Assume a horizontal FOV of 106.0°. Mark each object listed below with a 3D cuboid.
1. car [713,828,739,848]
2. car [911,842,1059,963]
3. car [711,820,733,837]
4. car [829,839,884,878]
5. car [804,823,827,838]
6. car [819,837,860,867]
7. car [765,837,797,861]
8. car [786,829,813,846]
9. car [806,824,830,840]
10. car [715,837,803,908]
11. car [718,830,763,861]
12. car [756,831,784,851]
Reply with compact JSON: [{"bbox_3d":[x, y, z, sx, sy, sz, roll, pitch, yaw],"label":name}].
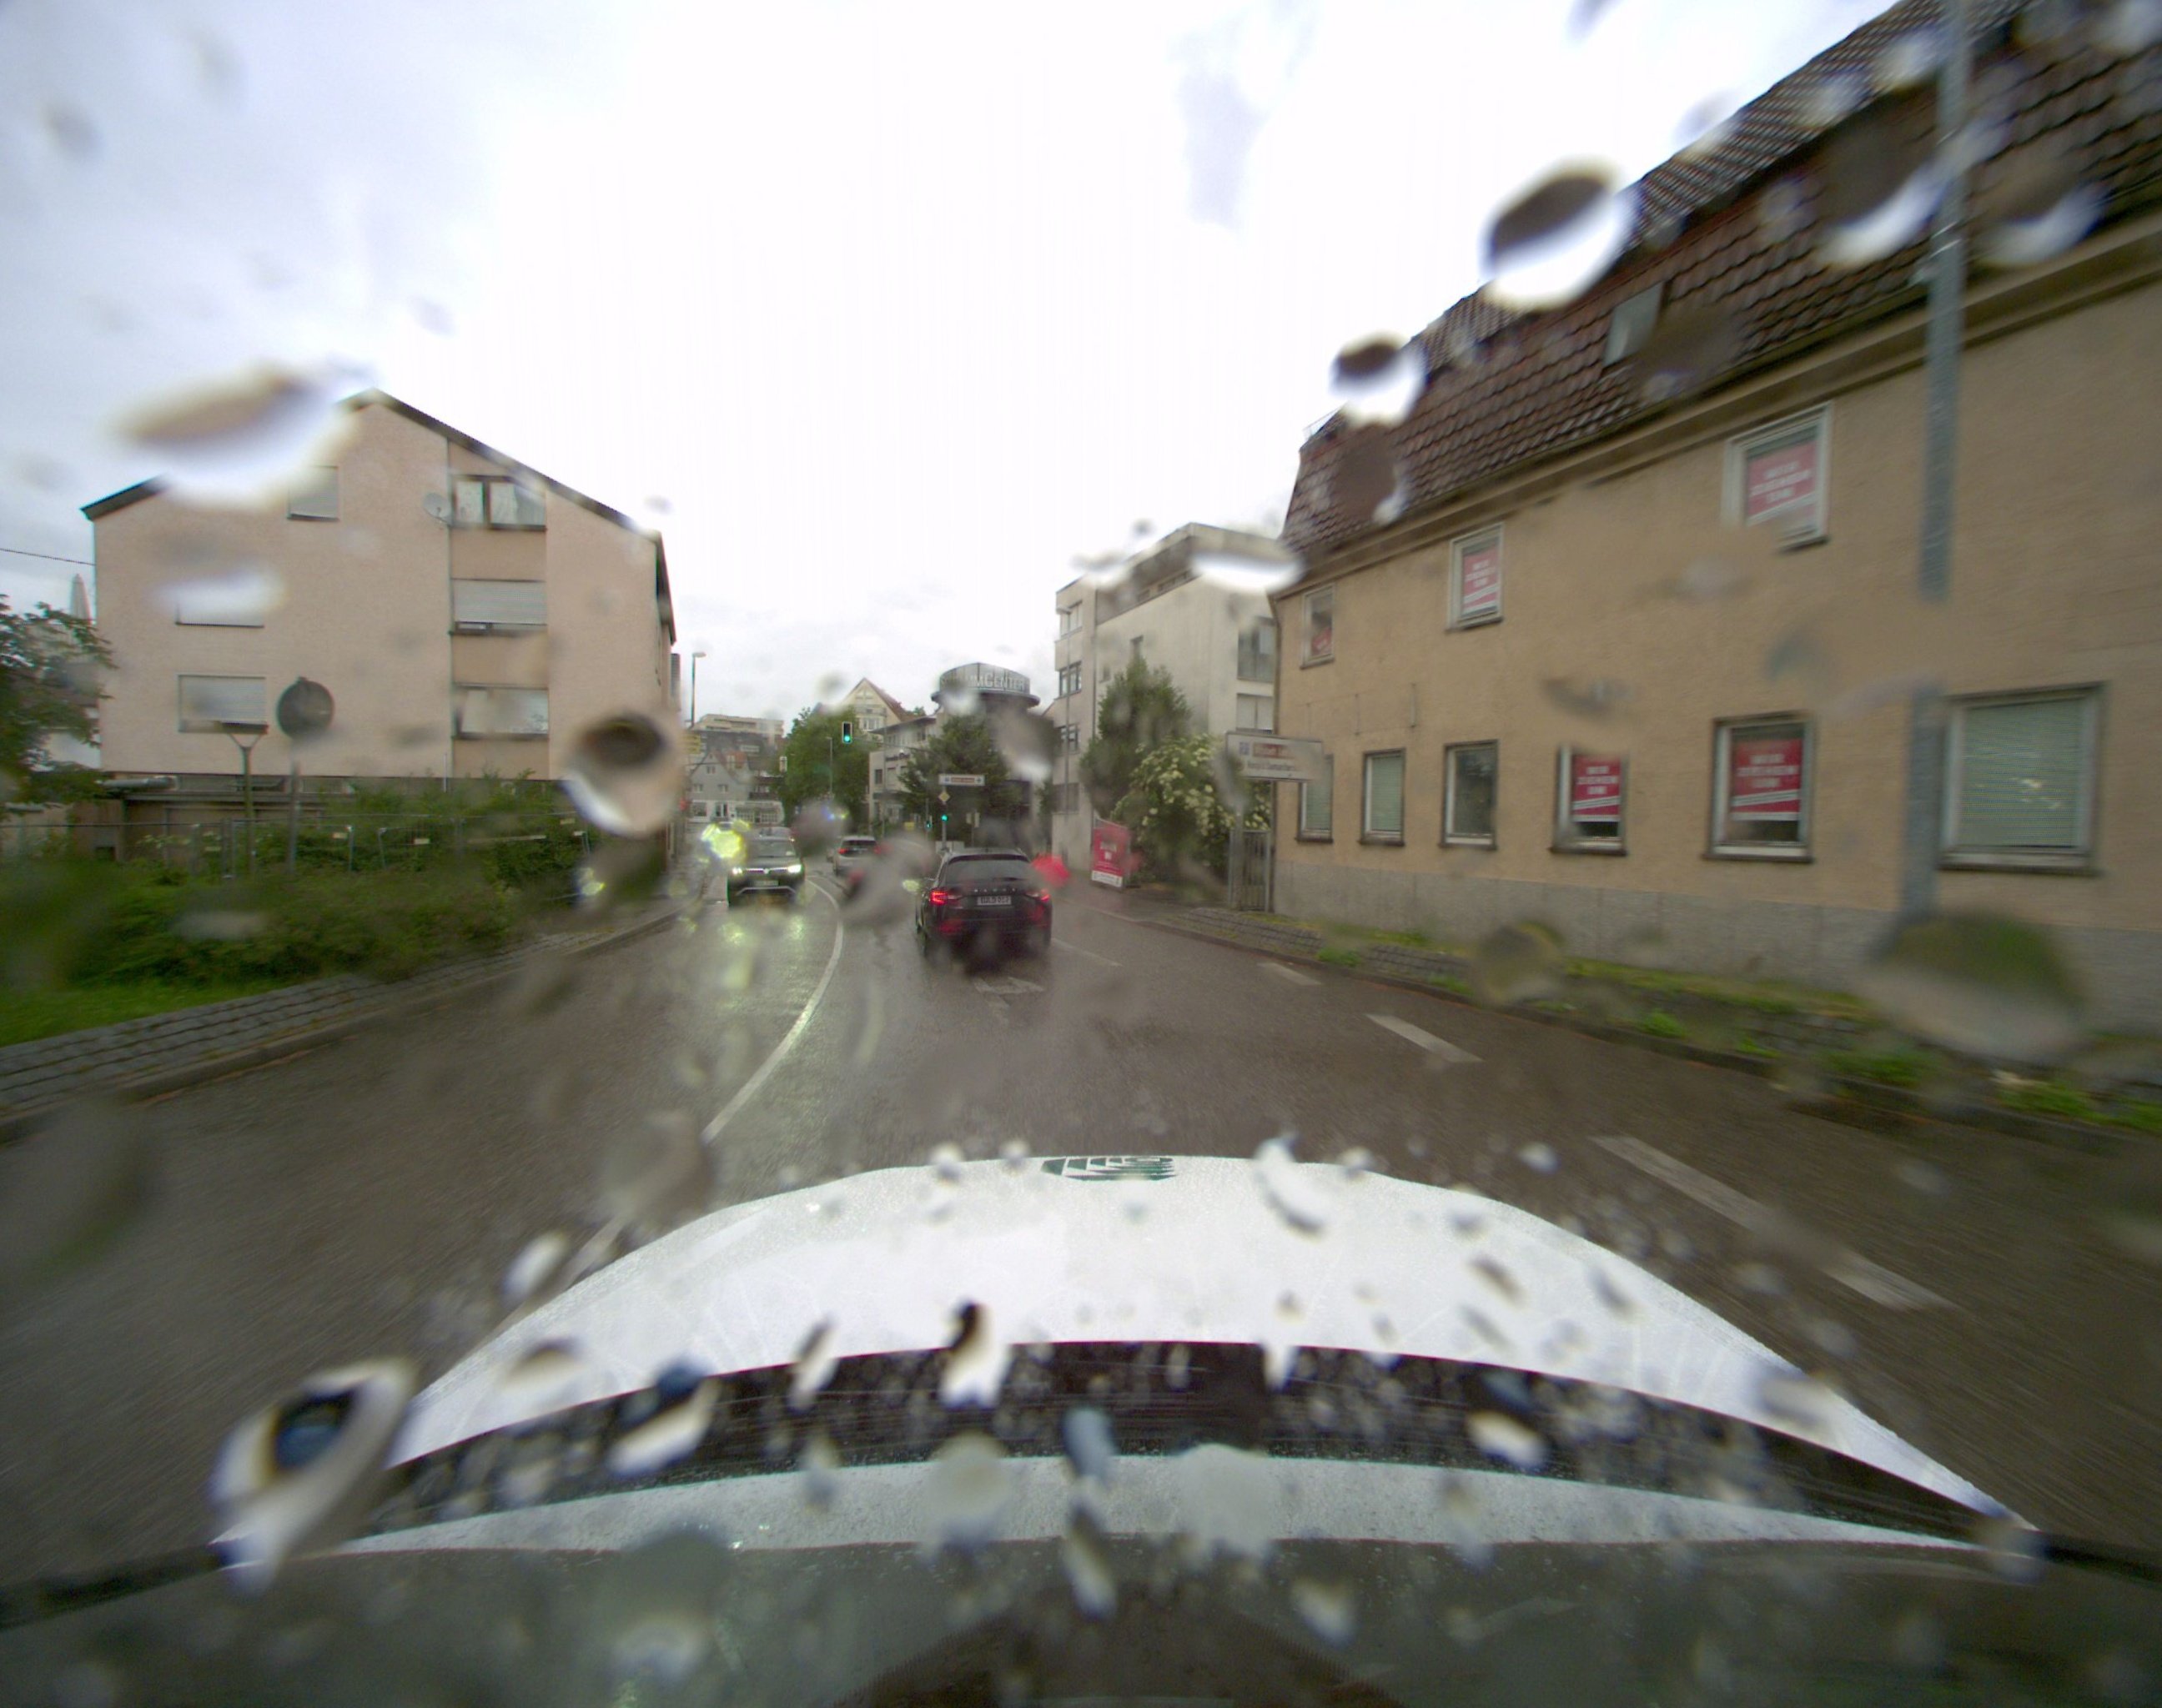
[{"bbox_3d":[-27.592,-1.283,63.225,1.699,1.372,4.080,-2,3,-25],"label":"car"},{"bbox_3d":[-1.662,0.619,12.704,1.784,1.483,4.227,-2,1,-13],"label":"car"},{"bbox_3d":[-35.247,-2.506,79.810,1.794,1.560,4.301,-1,3,-26],"label":"car"},{"bbox_3d":[-8.918,0.151,32.155,1.823,1.359,3.965,0,2,-19],"label":"car"},{"bbox_3d":[-29.875,-2.661,91.643,1.863,1.641,3.837,-1,3,-28],"label":"car"},{"bbox_3d":[-13.684,-0.072,46.019,1.735,1.590,4.152,1,-1,-22],"label":"car"},{"bbox_3d":[-22.459,-0.391,60.855,1.793,1.562,4.365,1,2,-26],"label":"car"},{"bbox_3d":[-26.098,-1.549,75.539,1.903,1.590,3.657,-1,2,-26],"label":"car"},{"bbox_3d":[-27.756,-2.309,85.909,1.863,1.641,3.507,-1,3,-28],"label":"car"},{"bbox_3d":[-8.444,0.401,21.549,1.900,1.595,4.326,-3,2,-20],"label":"car"},{"bbox_3d":[-16.664,-0.430,39.782,1.780,1.402,3.885,-2,1,-27],"label":"car"},{"bbox_3d":[-25.782,-1.100,67.393,1.793,1.562,4.365,1,2,-26],"label":"car"}]
